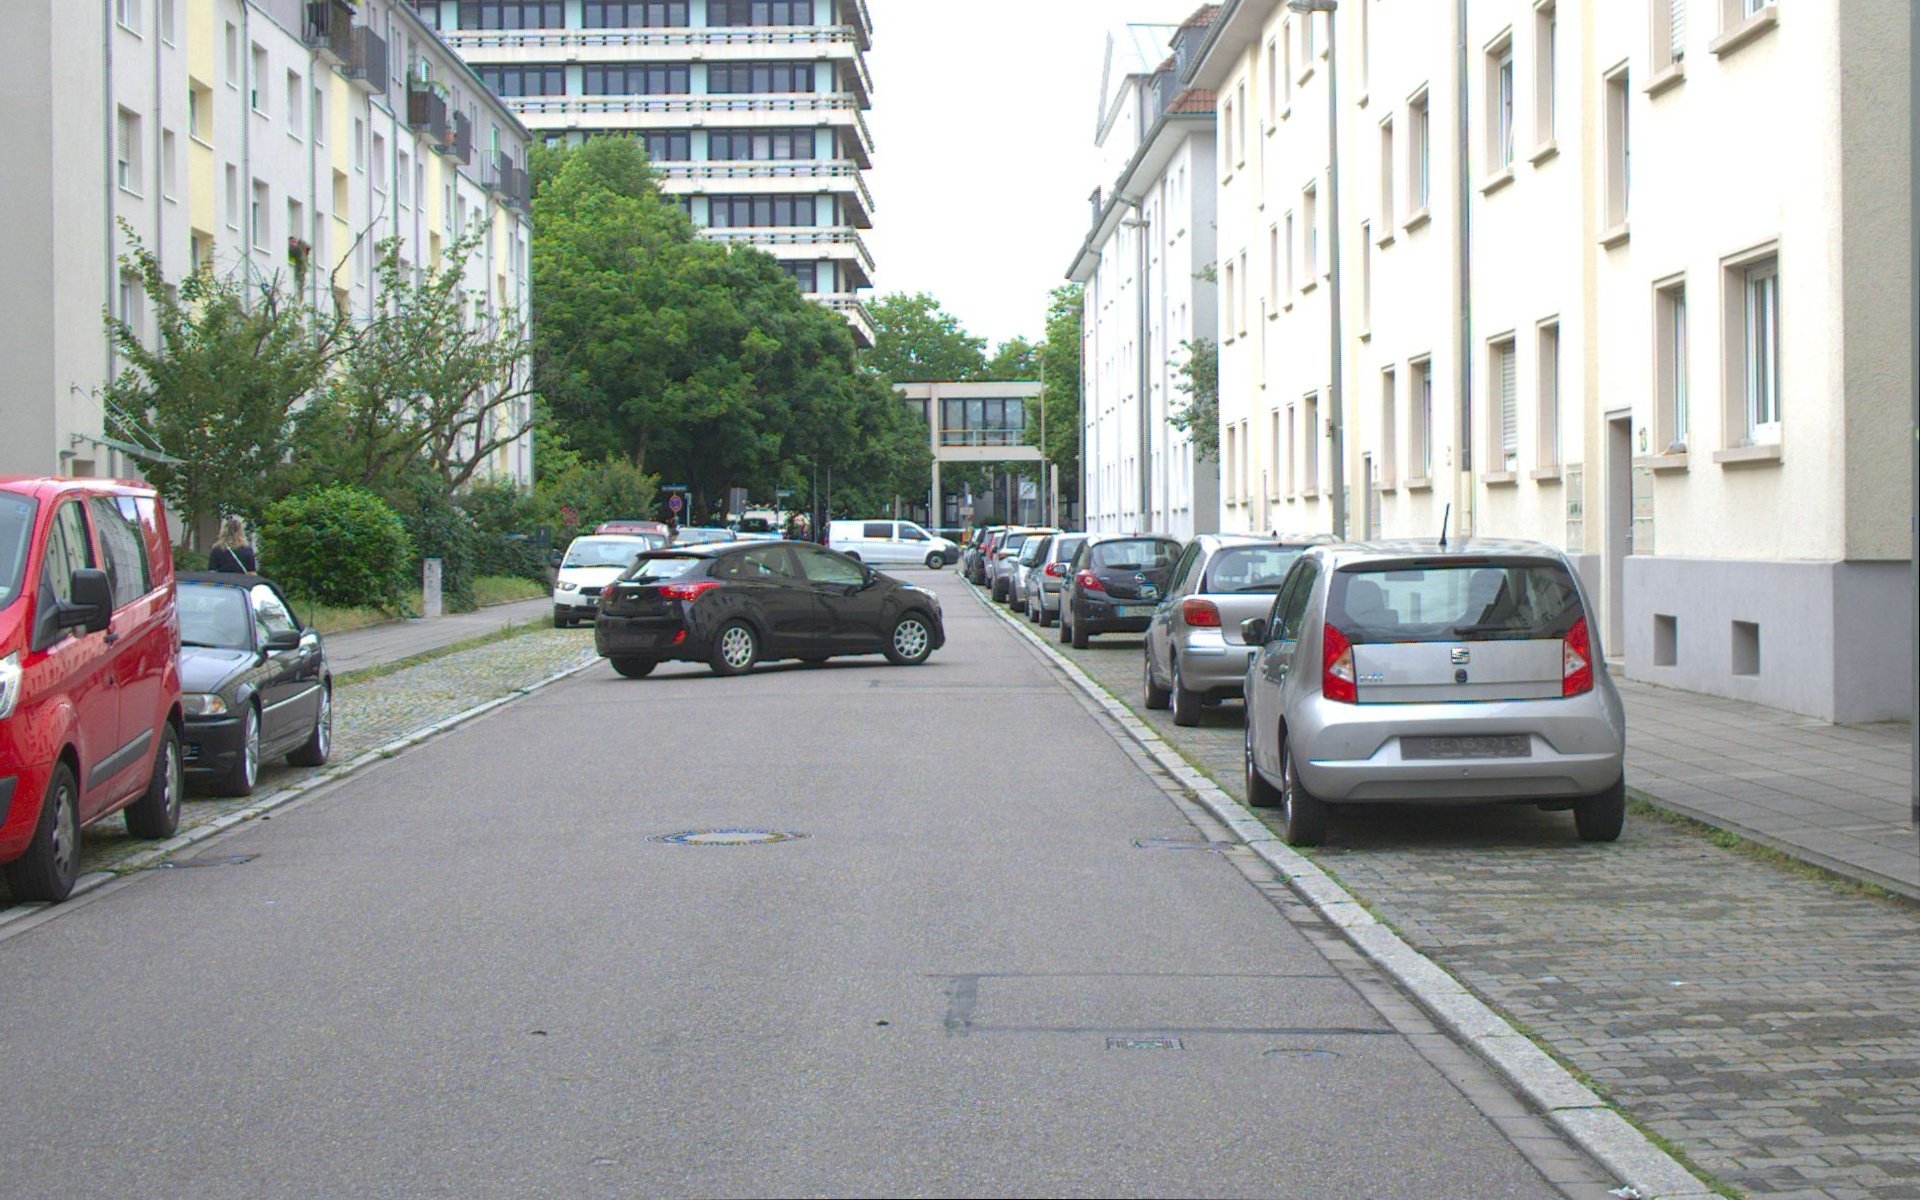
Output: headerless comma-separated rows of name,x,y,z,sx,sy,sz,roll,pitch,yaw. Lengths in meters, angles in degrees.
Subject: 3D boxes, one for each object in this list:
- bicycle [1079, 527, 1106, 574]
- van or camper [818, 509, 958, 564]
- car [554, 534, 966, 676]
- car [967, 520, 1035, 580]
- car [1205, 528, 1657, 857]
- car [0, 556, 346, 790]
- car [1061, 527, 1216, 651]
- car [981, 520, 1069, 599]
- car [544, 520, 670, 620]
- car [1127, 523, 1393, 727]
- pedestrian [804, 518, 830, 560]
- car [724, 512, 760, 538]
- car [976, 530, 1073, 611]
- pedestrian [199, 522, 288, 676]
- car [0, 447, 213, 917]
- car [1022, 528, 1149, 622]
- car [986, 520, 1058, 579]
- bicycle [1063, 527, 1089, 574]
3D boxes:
bicycle,3.437,-1.287,89.055,0.576,1.171,2.036,-1,1,5
van or camper,-2.737,-2.411,129.955,5.171,2.007,2.000,-1,1,-4
car,-2.137,0.018,37.539,4.221,1.428,1.908,-2,2,-42
car,1.120,-1.404,95.487,1.820,1.597,4.091,-1,1,0
car,2.333,0.386,18.000,1.725,1.487,4.061,-1,1,-1
car,-5.318,0.411,22.702,1.870,1.319,4.362,1,1,-2
car,2.299,-0.183,45.109,1.725,1.512,4.061,-1,1,-1
car,1.375,-0.897,74.431,1.820,1.636,4.091,-1,1,0
car,-5.849,-0.523,57.268,1.720,1.564,3.871,2,1,-1
car,2.375,0.142,28.105,1.725,1.512,4.061,-1,1,-1
pedestrian,-5.667,-2.407,135.981,0.972,1.648,0.981,-1,1,-1
car,-11.194,-3.872,176.906,1.665,1.328,3.396,0,2,-1
car,1.204,-0.588,65.775,1.725,1.471,4.505,0,1,0
pedestrian,-7.591,-0.019,36.478,0.799,1.604,0.947,-1,1,-5
car,-5.128,0.255,16.639,2.151,1.947,4.923,2,1,-3
car,1.992,-0.428,55.350,1.848,1.445,3.833,-1,1,-1
car,1.615,-1.351,90.740,1.820,1.498,4.091,-1,1,0
bicycle,3.003,-1.292,89.089,0.530,1.171,2.036,-1,1,5
